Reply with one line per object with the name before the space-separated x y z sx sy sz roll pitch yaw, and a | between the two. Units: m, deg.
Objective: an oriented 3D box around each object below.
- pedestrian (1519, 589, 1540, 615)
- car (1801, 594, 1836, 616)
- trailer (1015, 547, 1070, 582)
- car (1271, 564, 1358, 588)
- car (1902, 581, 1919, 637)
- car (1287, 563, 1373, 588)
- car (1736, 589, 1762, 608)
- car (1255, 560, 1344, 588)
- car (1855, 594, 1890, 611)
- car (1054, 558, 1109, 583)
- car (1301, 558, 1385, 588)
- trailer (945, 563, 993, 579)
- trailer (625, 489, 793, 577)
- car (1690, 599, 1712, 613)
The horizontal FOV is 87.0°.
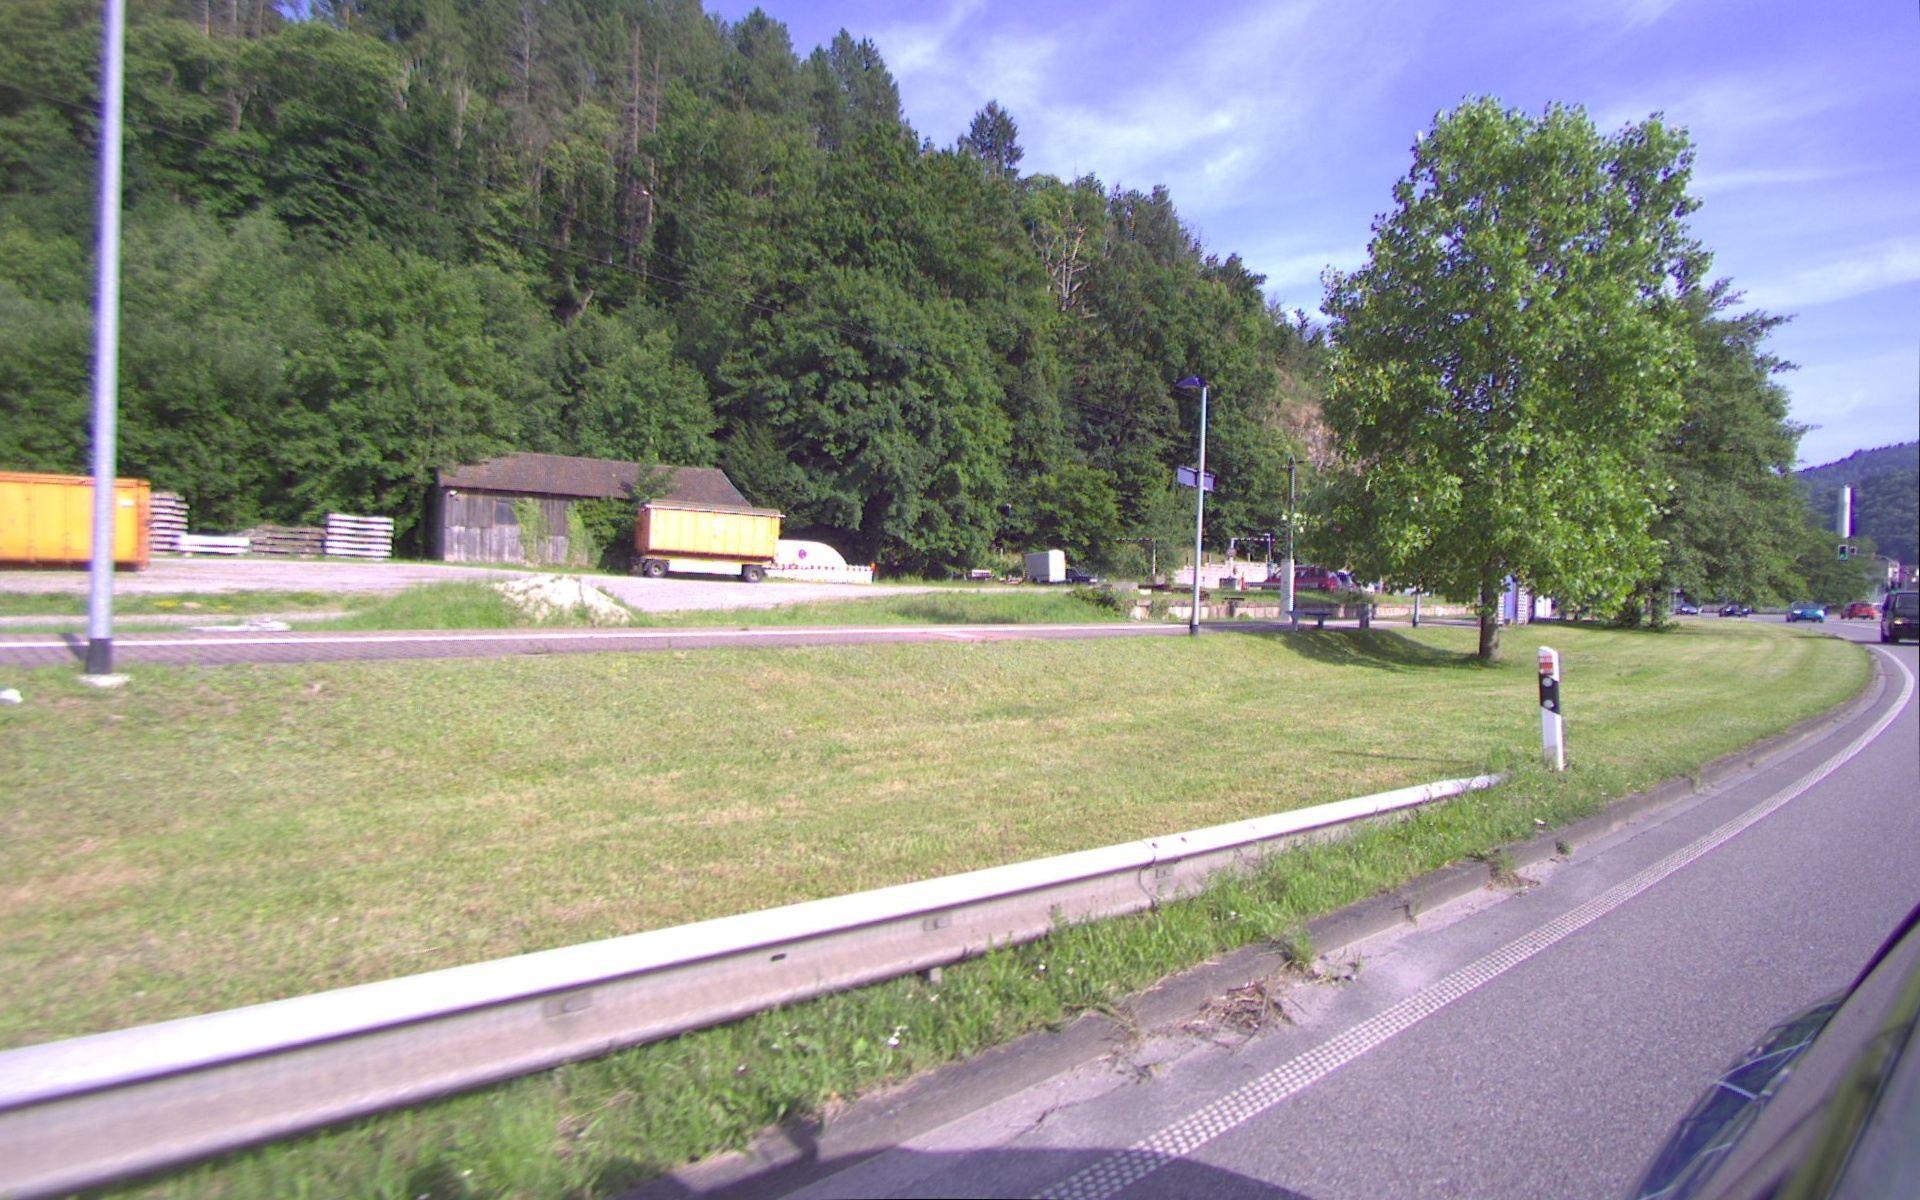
pedestrian | 26.066 0.082 46.322 0.714 1.175 0.636 0 2 -42
car | 62.355 0.329 73.577 1.761 1.478 3.526 4 3 39
trailer | 5.430 -2.393 67.001 1.782 2.216 3.708 1 2 -31
car | 22.782 -1.560 65.081 4.944 1.487 1.868 2 1 40
car | 34.946 0.322 36.104 1.904 1.902 4.279 3 2 43
car | 24.441 -1.643 66.992 4.944 1.607 2.110 2 1 40
car | 79.129 -0.144 101.518 1.989 1.816 3.946 3 2 37
car | 21.152 -1.630 63.203 4.944 1.712 1.908 2 1 40
car | 78.635 0.199 87.225 1.669 1.478 4.150 1 1 34
car | 7.939 -1.928 66.526 1.638 1.505 3.616 1 2 -33
car | 25.978 -1.823 68.791 4.944 1.968 2.110 2 1 40
trailer | 0.573 -1.882 65.082 1.703 0.926 3.075 1 2 -31
trailer | -12.428 -3.248 50.365 7.579 3.941 2.618 1 2 -31
car | 88.737 0.672 121.276 1.865 1.478 3.684 3 3 34
